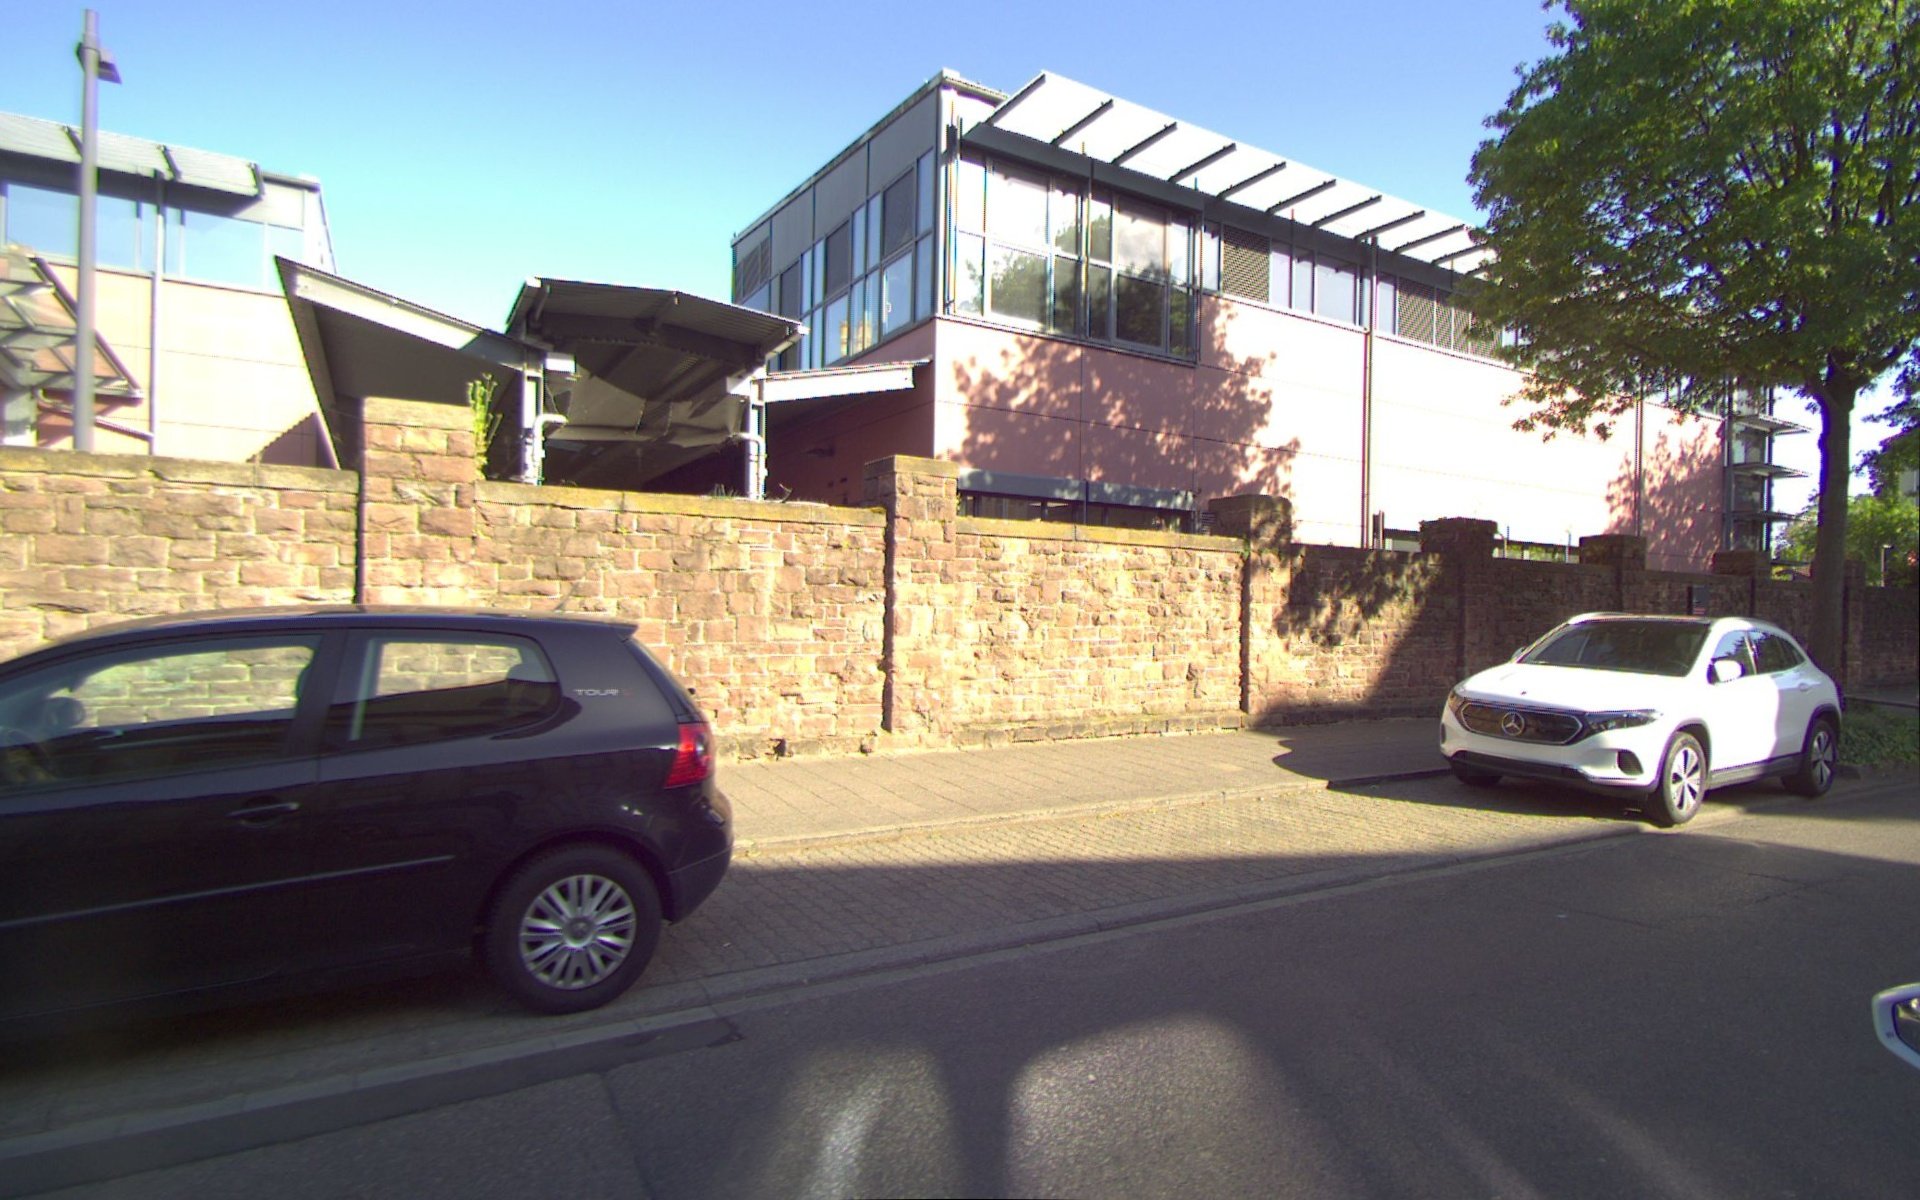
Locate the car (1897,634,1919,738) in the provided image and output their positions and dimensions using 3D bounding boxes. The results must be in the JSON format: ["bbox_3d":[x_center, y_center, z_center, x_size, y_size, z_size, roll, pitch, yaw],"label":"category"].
[{"bbox_3d":[16.157,1.319,15.206,4.427,1.495,1.717,1,1,-31],"label":"car"}]

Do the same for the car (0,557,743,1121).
[{"bbox_3d":[-3.037,0.682,3.690,4.057,1.613,1.729,1,0,-30],"label":"car"}]

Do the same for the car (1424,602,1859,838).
[{"bbox_3d":[6.305,0.912,9.157,4.303,1.706,1.710,1,0,-32],"label":"car"}]
